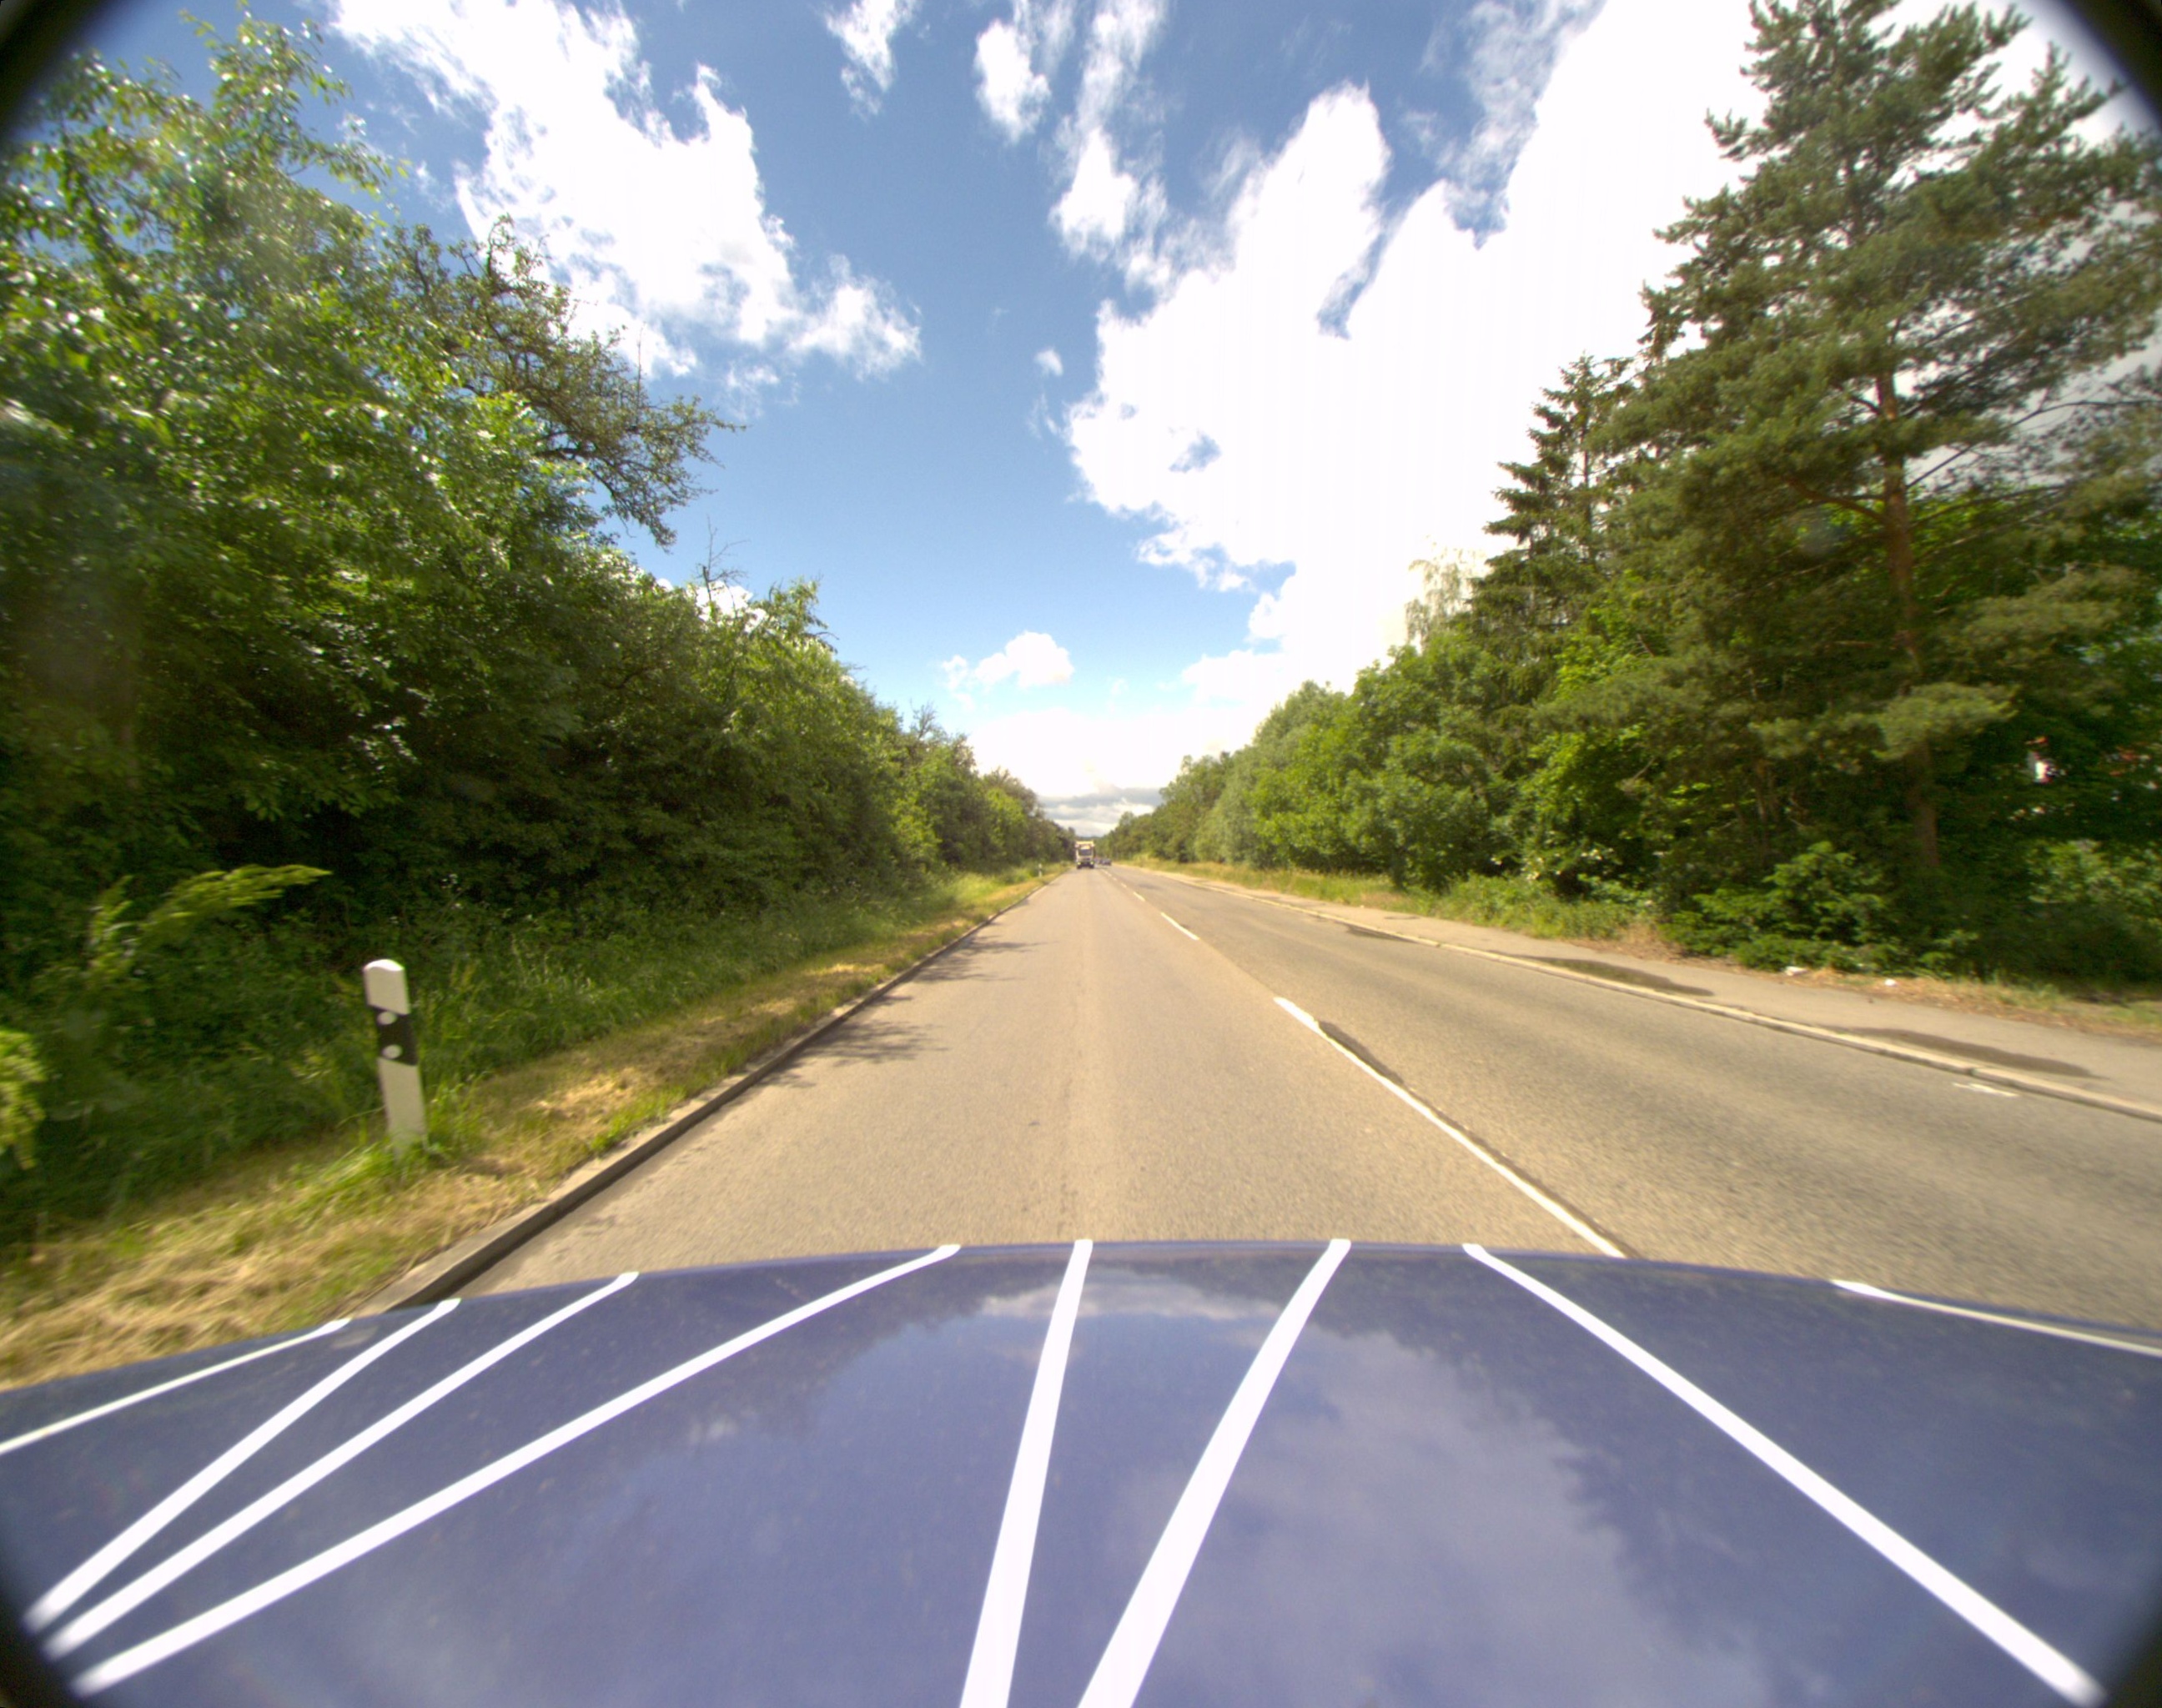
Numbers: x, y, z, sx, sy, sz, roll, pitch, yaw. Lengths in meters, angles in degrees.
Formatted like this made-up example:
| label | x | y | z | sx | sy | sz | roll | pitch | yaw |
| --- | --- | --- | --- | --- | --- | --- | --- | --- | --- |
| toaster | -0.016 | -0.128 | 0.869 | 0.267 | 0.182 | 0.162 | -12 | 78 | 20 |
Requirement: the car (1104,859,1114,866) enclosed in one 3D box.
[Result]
| label | x | y | z | sx | sy | sz | roll | pitch | yaw |
| --- | --- | --- | --- | --- | --- | --- | --- | --- | --- |
| car | 5.923 | 1.788 | 162.681 | 1.789 | 1.326 | 4.622 | 1 | -1 | -1 |

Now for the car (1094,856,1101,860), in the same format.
| label | x | y | z | sx | sy | sz | roll | pitch | yaw |
| --- | --- | --- | --- | --- | --- | --- | --- | --- | --- |
| car | 5.281 | 1.289 | 243.357 | 1.789 | 1.438 | 4.452 | 1 | -1 | -1 |

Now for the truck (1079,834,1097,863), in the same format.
| label | x | y | z | sx | sy | sz | roll | pitch | yaw |
| --- | --- | --- | --- | --- | --- | --- | --- | --- | --- |
| truck | 0.977 | -0.710 | 108.387 | 2.306 | 3.789 | 8.183 | -2 | -1 | 0 |

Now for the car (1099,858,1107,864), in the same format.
| label | x | y | z | sx | sy | sz | roll | pitch | yaw |
| --- | --- | --- | --- | --- | --- | --- | --- | --- | --- |
| car | 5.831 | 1.915 | 198.697 | 1.889 | 1.483 | 4.717 | 1 | -1 | -1 |
